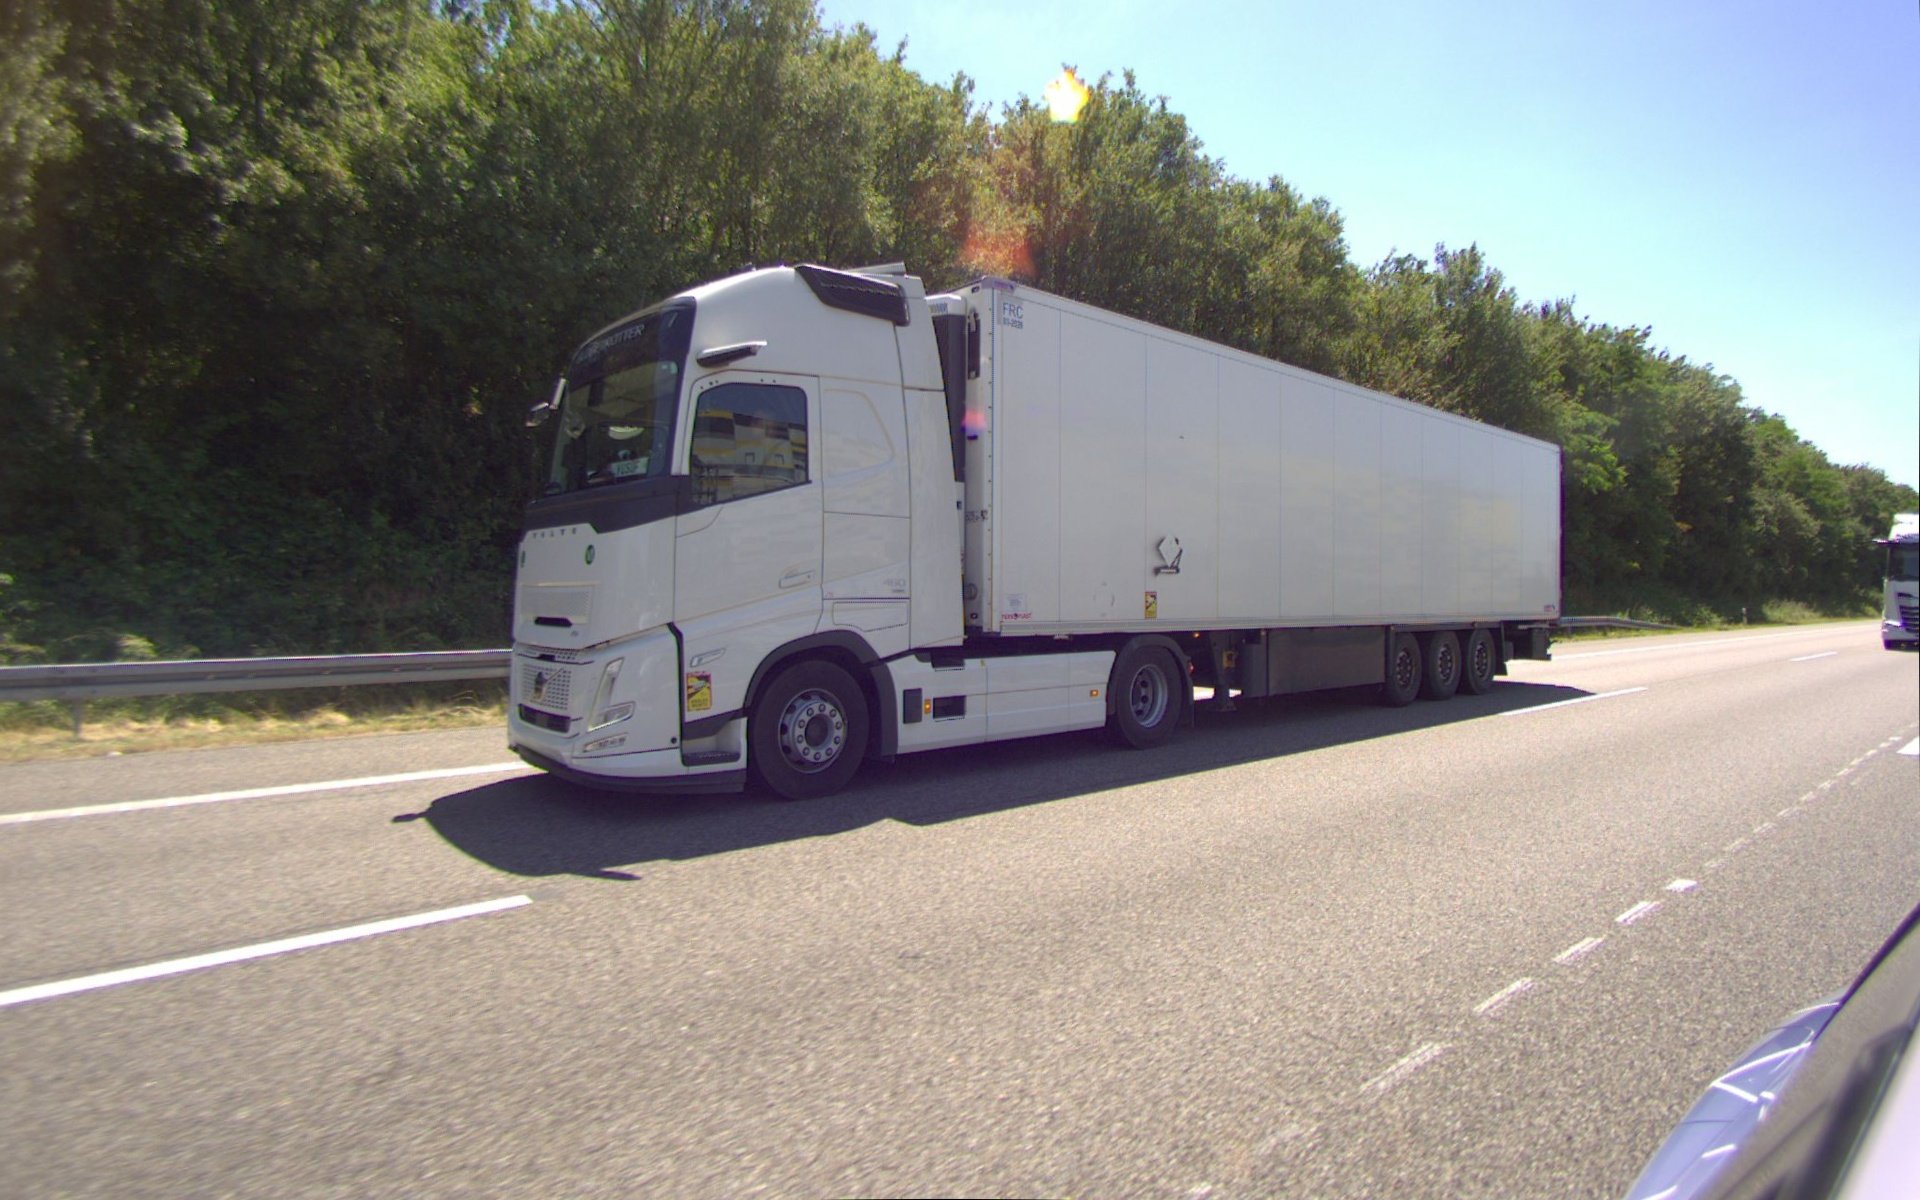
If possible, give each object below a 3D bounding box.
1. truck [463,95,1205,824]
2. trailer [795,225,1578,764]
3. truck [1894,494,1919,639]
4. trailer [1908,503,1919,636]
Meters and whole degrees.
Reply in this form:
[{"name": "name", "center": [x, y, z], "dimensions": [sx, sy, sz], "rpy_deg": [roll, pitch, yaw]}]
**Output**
[{"name": "truck", "center": [-0.824, -0.852, 9.055], "dimensions": [5.944, 4.268, 3.052], "rpy_deg": [0, 0, -42]}, {"name": "trailer", "center": [4.377, -0.885, 13.714], "dimensions": [13.597, 4.278, 3.044], "rpy_deg": [0, 0, -42]}, {"name": "truck", "center": [30.092, -0.957, 30.233], "dimensions": [5.944, 4.121, 2.681], "rpy_deg": [0, 0, -42]}, {"name": "trailer", "center": [35.489, -0.964, 35.070], "dimensions": [13.597, 4.121, 2.681], "rpy_deg": [0, 0, -42]}]
